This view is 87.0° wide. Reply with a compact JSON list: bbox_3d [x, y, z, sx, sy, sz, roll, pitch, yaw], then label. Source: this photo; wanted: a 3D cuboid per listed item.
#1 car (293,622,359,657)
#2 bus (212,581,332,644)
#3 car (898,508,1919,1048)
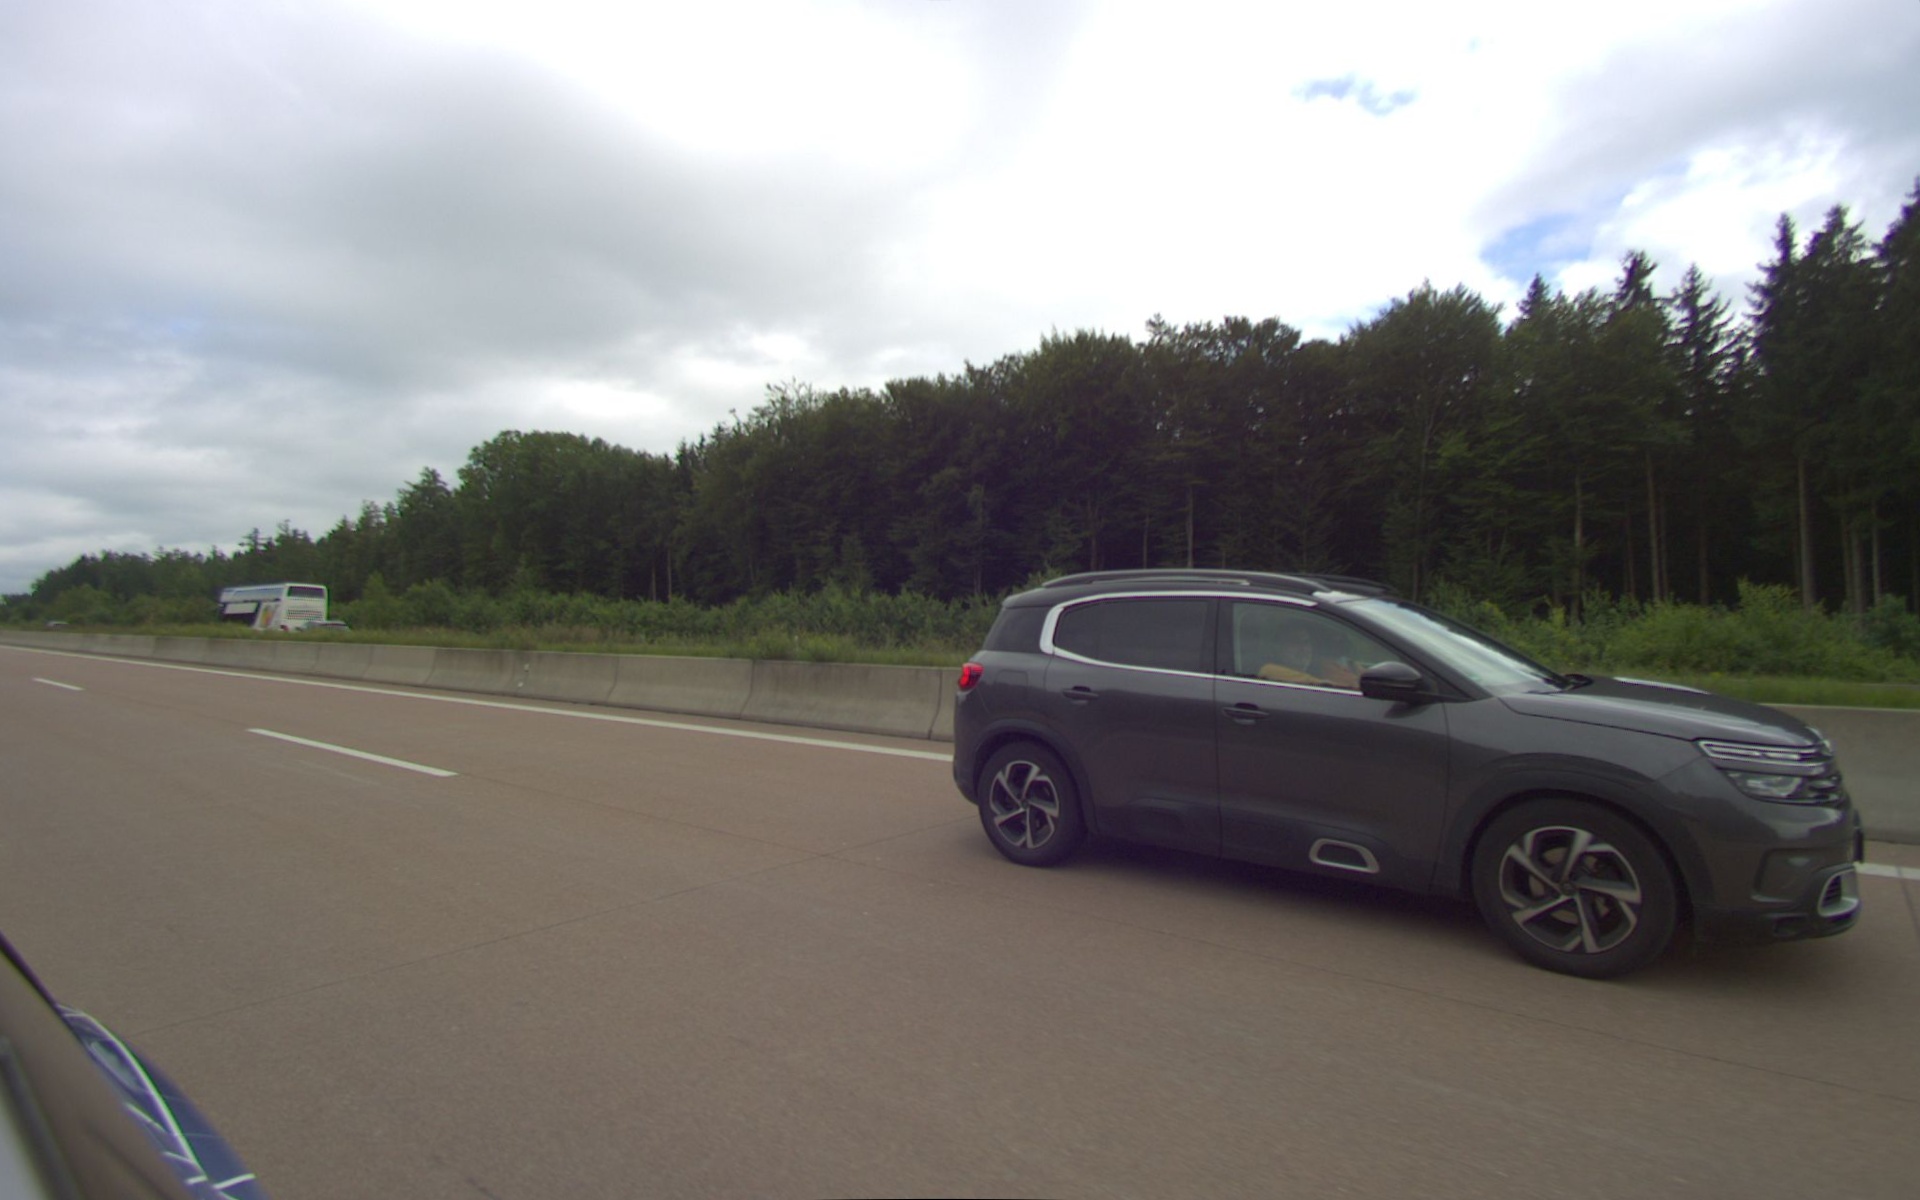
[{"bbox_3d":[-31.827,1.970,50.786,3.998,1.630,1.716,-1,0,41],"label":"car"},{"bbox_3d":[-46.976,0.904,68.783,14.350,3.918,3.018,-1,-1,40],"label":"bus"},{"bbox_3d":[2.239,0.594,5.234,5.250,1.711,1.973,-1,-1,41],"label":"car"}]
